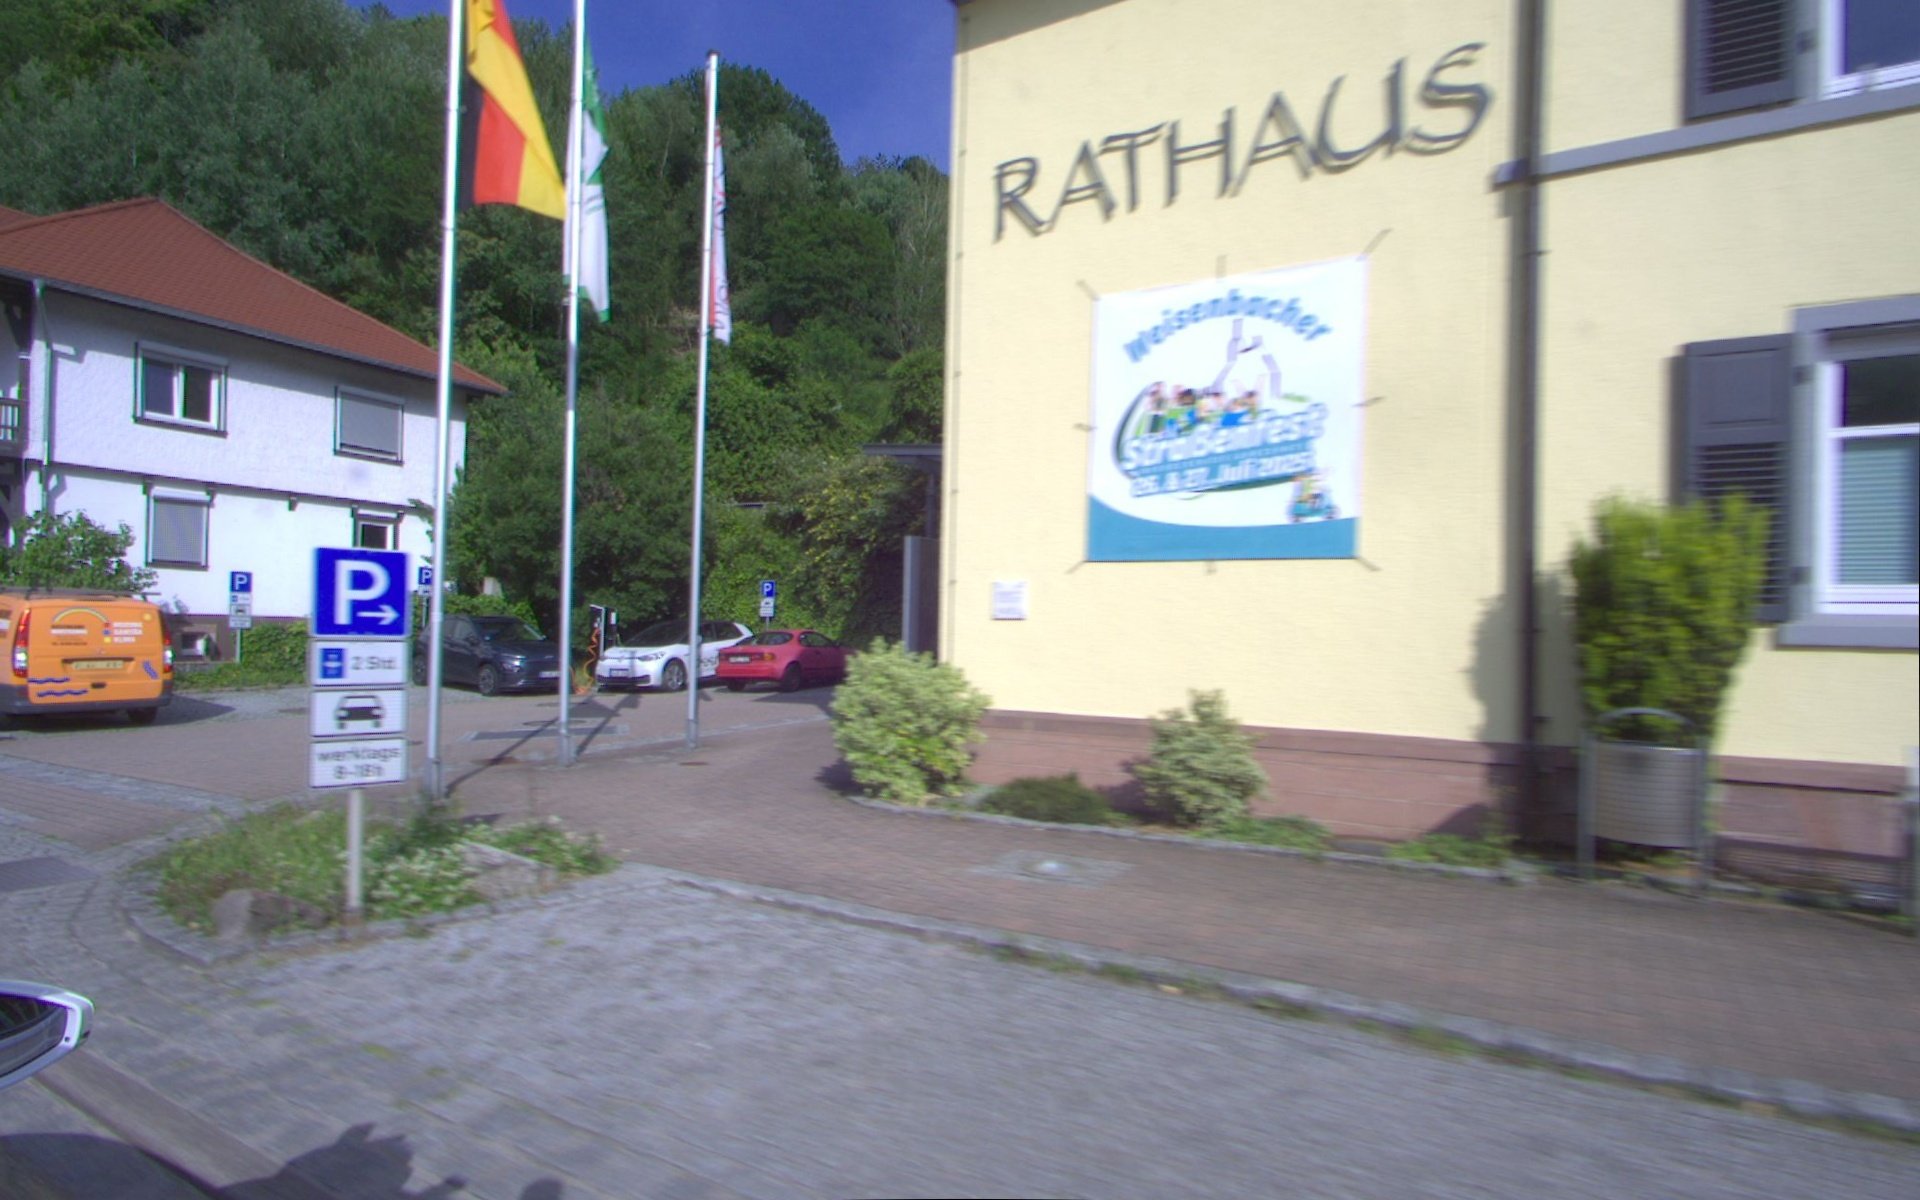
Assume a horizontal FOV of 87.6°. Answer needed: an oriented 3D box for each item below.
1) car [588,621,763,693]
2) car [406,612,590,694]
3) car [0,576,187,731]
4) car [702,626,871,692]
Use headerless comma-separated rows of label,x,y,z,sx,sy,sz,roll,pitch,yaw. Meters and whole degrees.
car,-6.301,1.217,22.629,1.790,1.470,3.886,-1,-1,22
car,-9.931,1.080,21.432,4.100,1.599,1.747,-1,-1,34
car,-13.830,0.731,15.121,4.765,2.023,1.905,0,-1,32
car,-3.736,1.240,22.228,1.730,1.306,3.881,-1,-1,27
